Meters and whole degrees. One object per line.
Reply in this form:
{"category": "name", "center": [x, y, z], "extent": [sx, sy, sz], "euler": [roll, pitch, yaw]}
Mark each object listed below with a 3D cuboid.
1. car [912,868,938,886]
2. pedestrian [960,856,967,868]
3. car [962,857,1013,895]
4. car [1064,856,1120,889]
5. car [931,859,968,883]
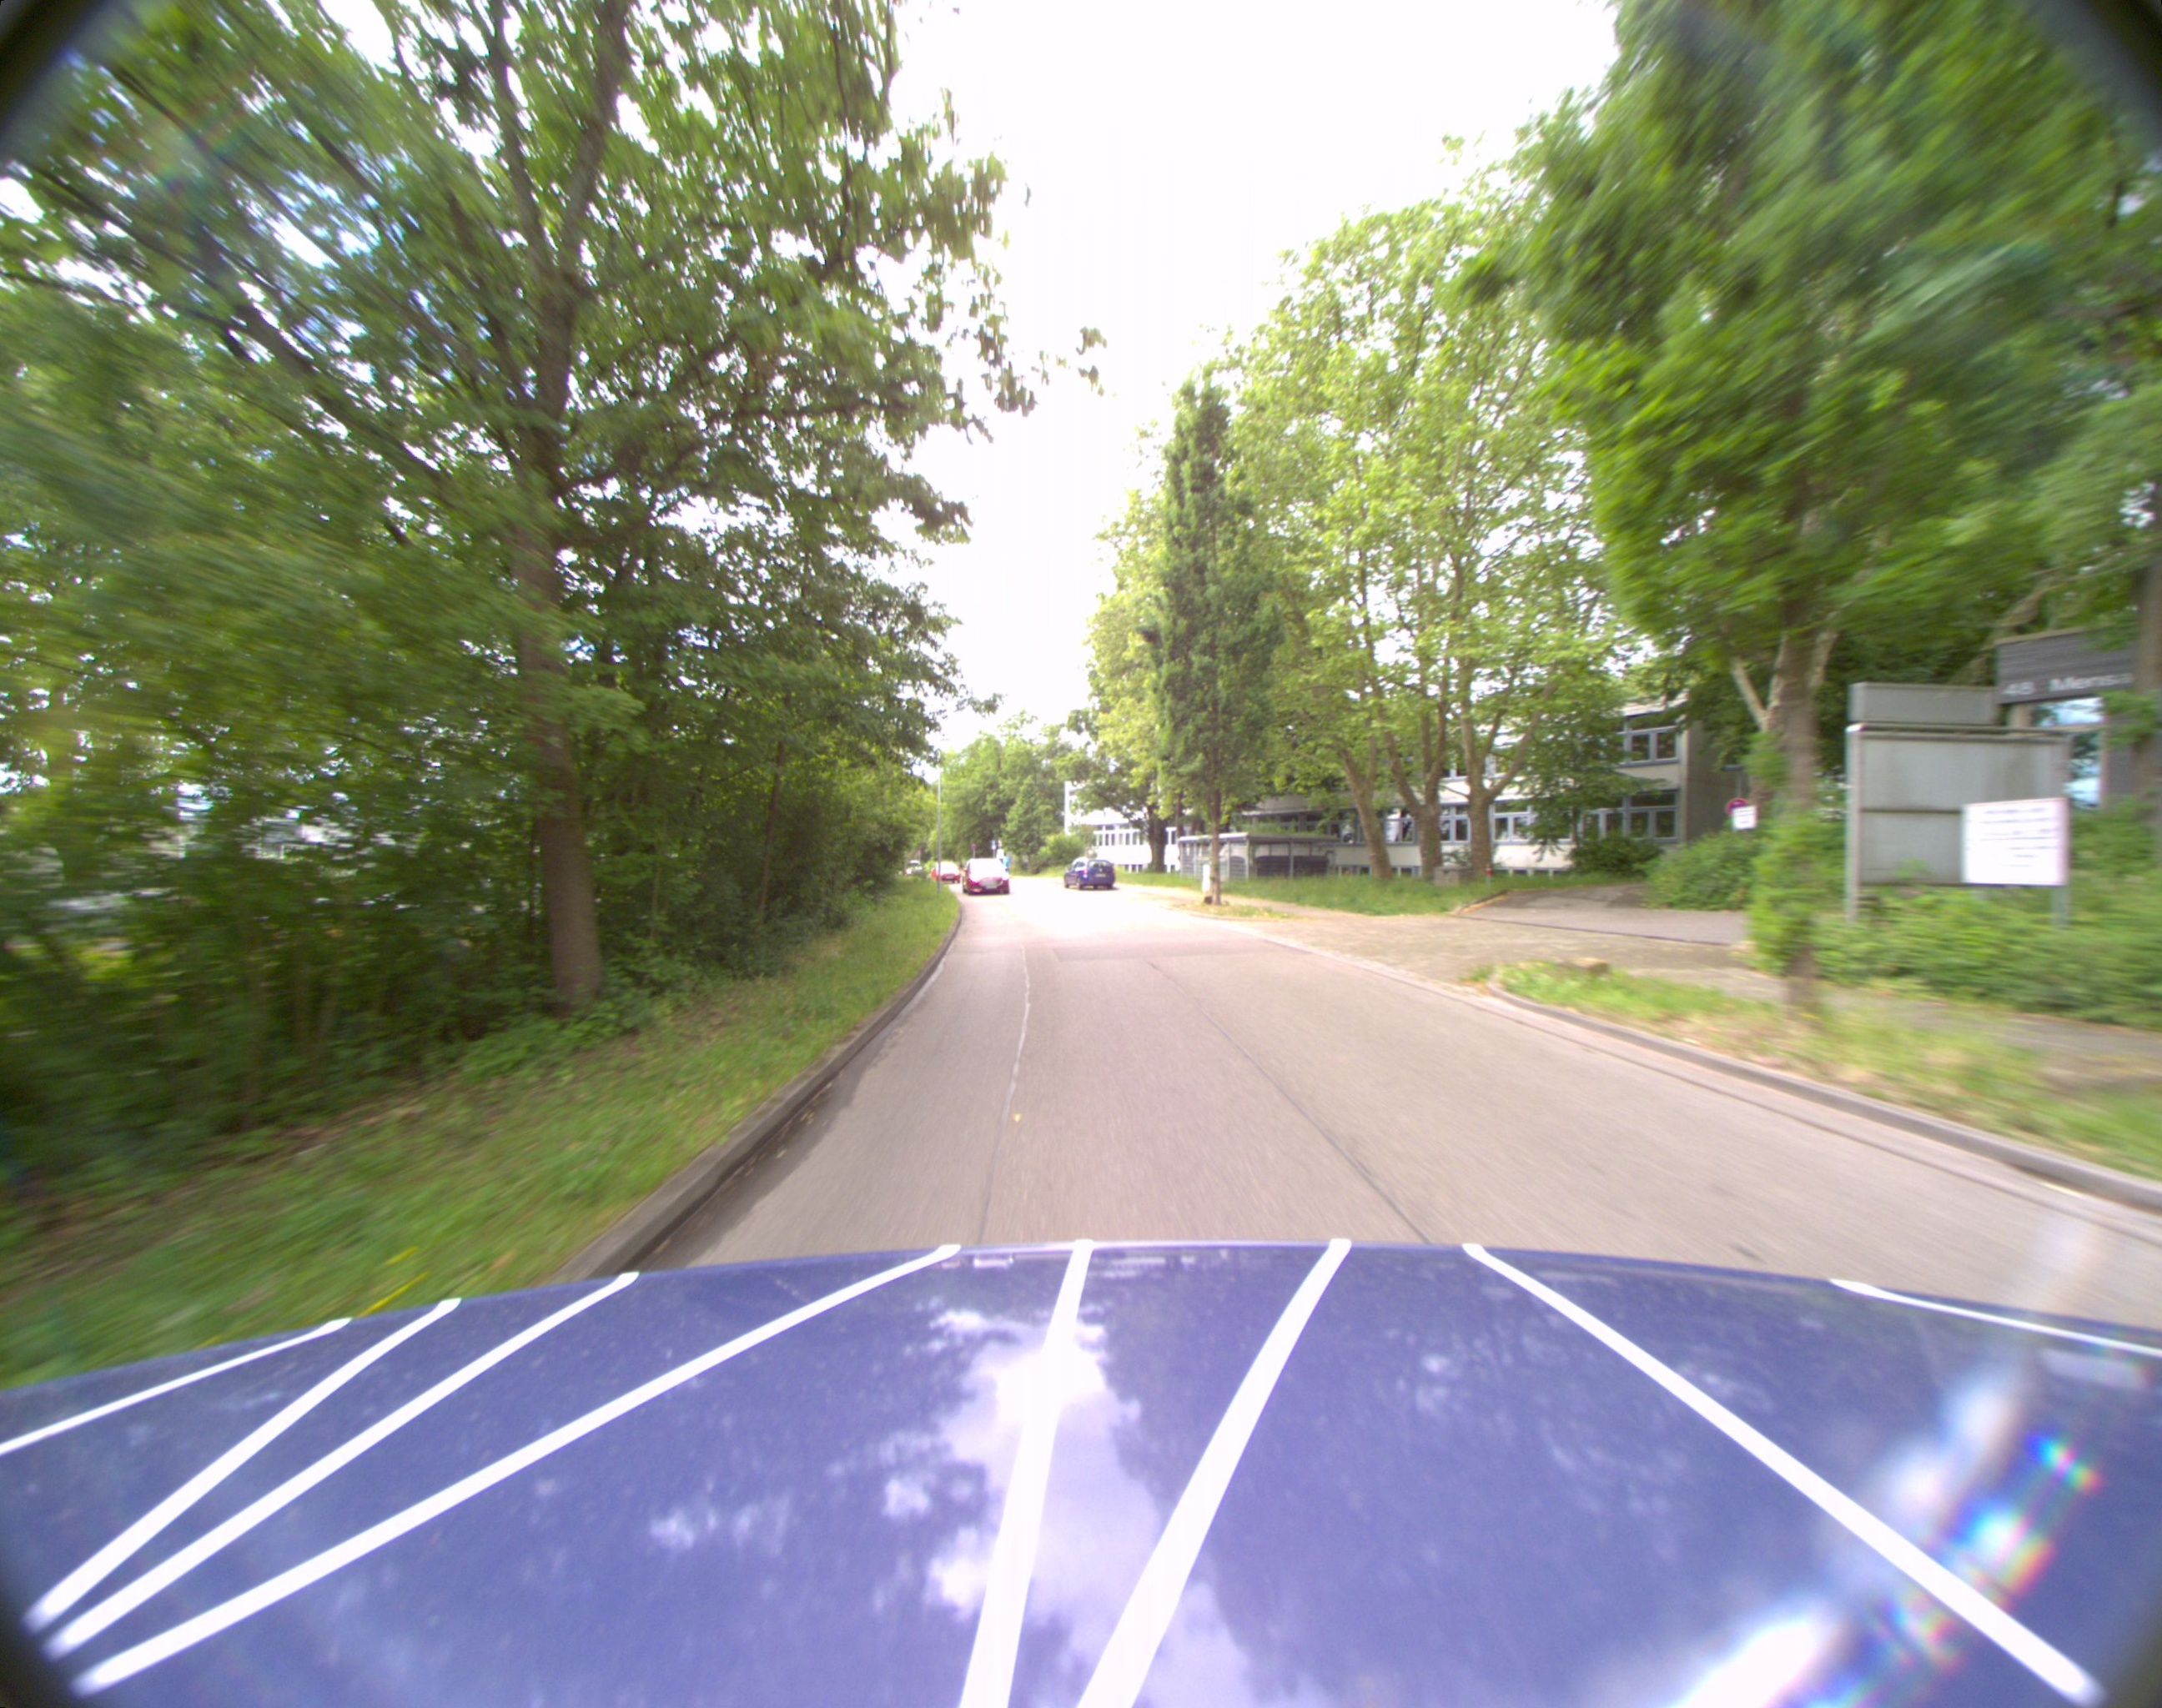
{"category": "car", "center": [-14.489, 2.080, 70.396], "extent": [1.923, 1.587, 3.892], "euler": [1, -1, -18]}
{"category": "pedestrian", "center": [-16.549, 1.156, 106.719], "extent": [0.763, 1.652, 0.807], "euler": [1, 0, -22]}
{"category": "car", "center": [-4.456, 0.974, 35.722], "extent": [1.863, 1.608, 4.471], "euler": [-2, 0, -13]}
{"category": "car", "center": [0.470, 0.874, 37.386], "extent": [1.686, 1.503, 4.425], "euler": [0, 0, -14]}
{"category": "car", "center": [-9.234, 1.167, 53.126], "extent": [2.002, 1.564, 3.994], "euler": [1, -1, -18]}
